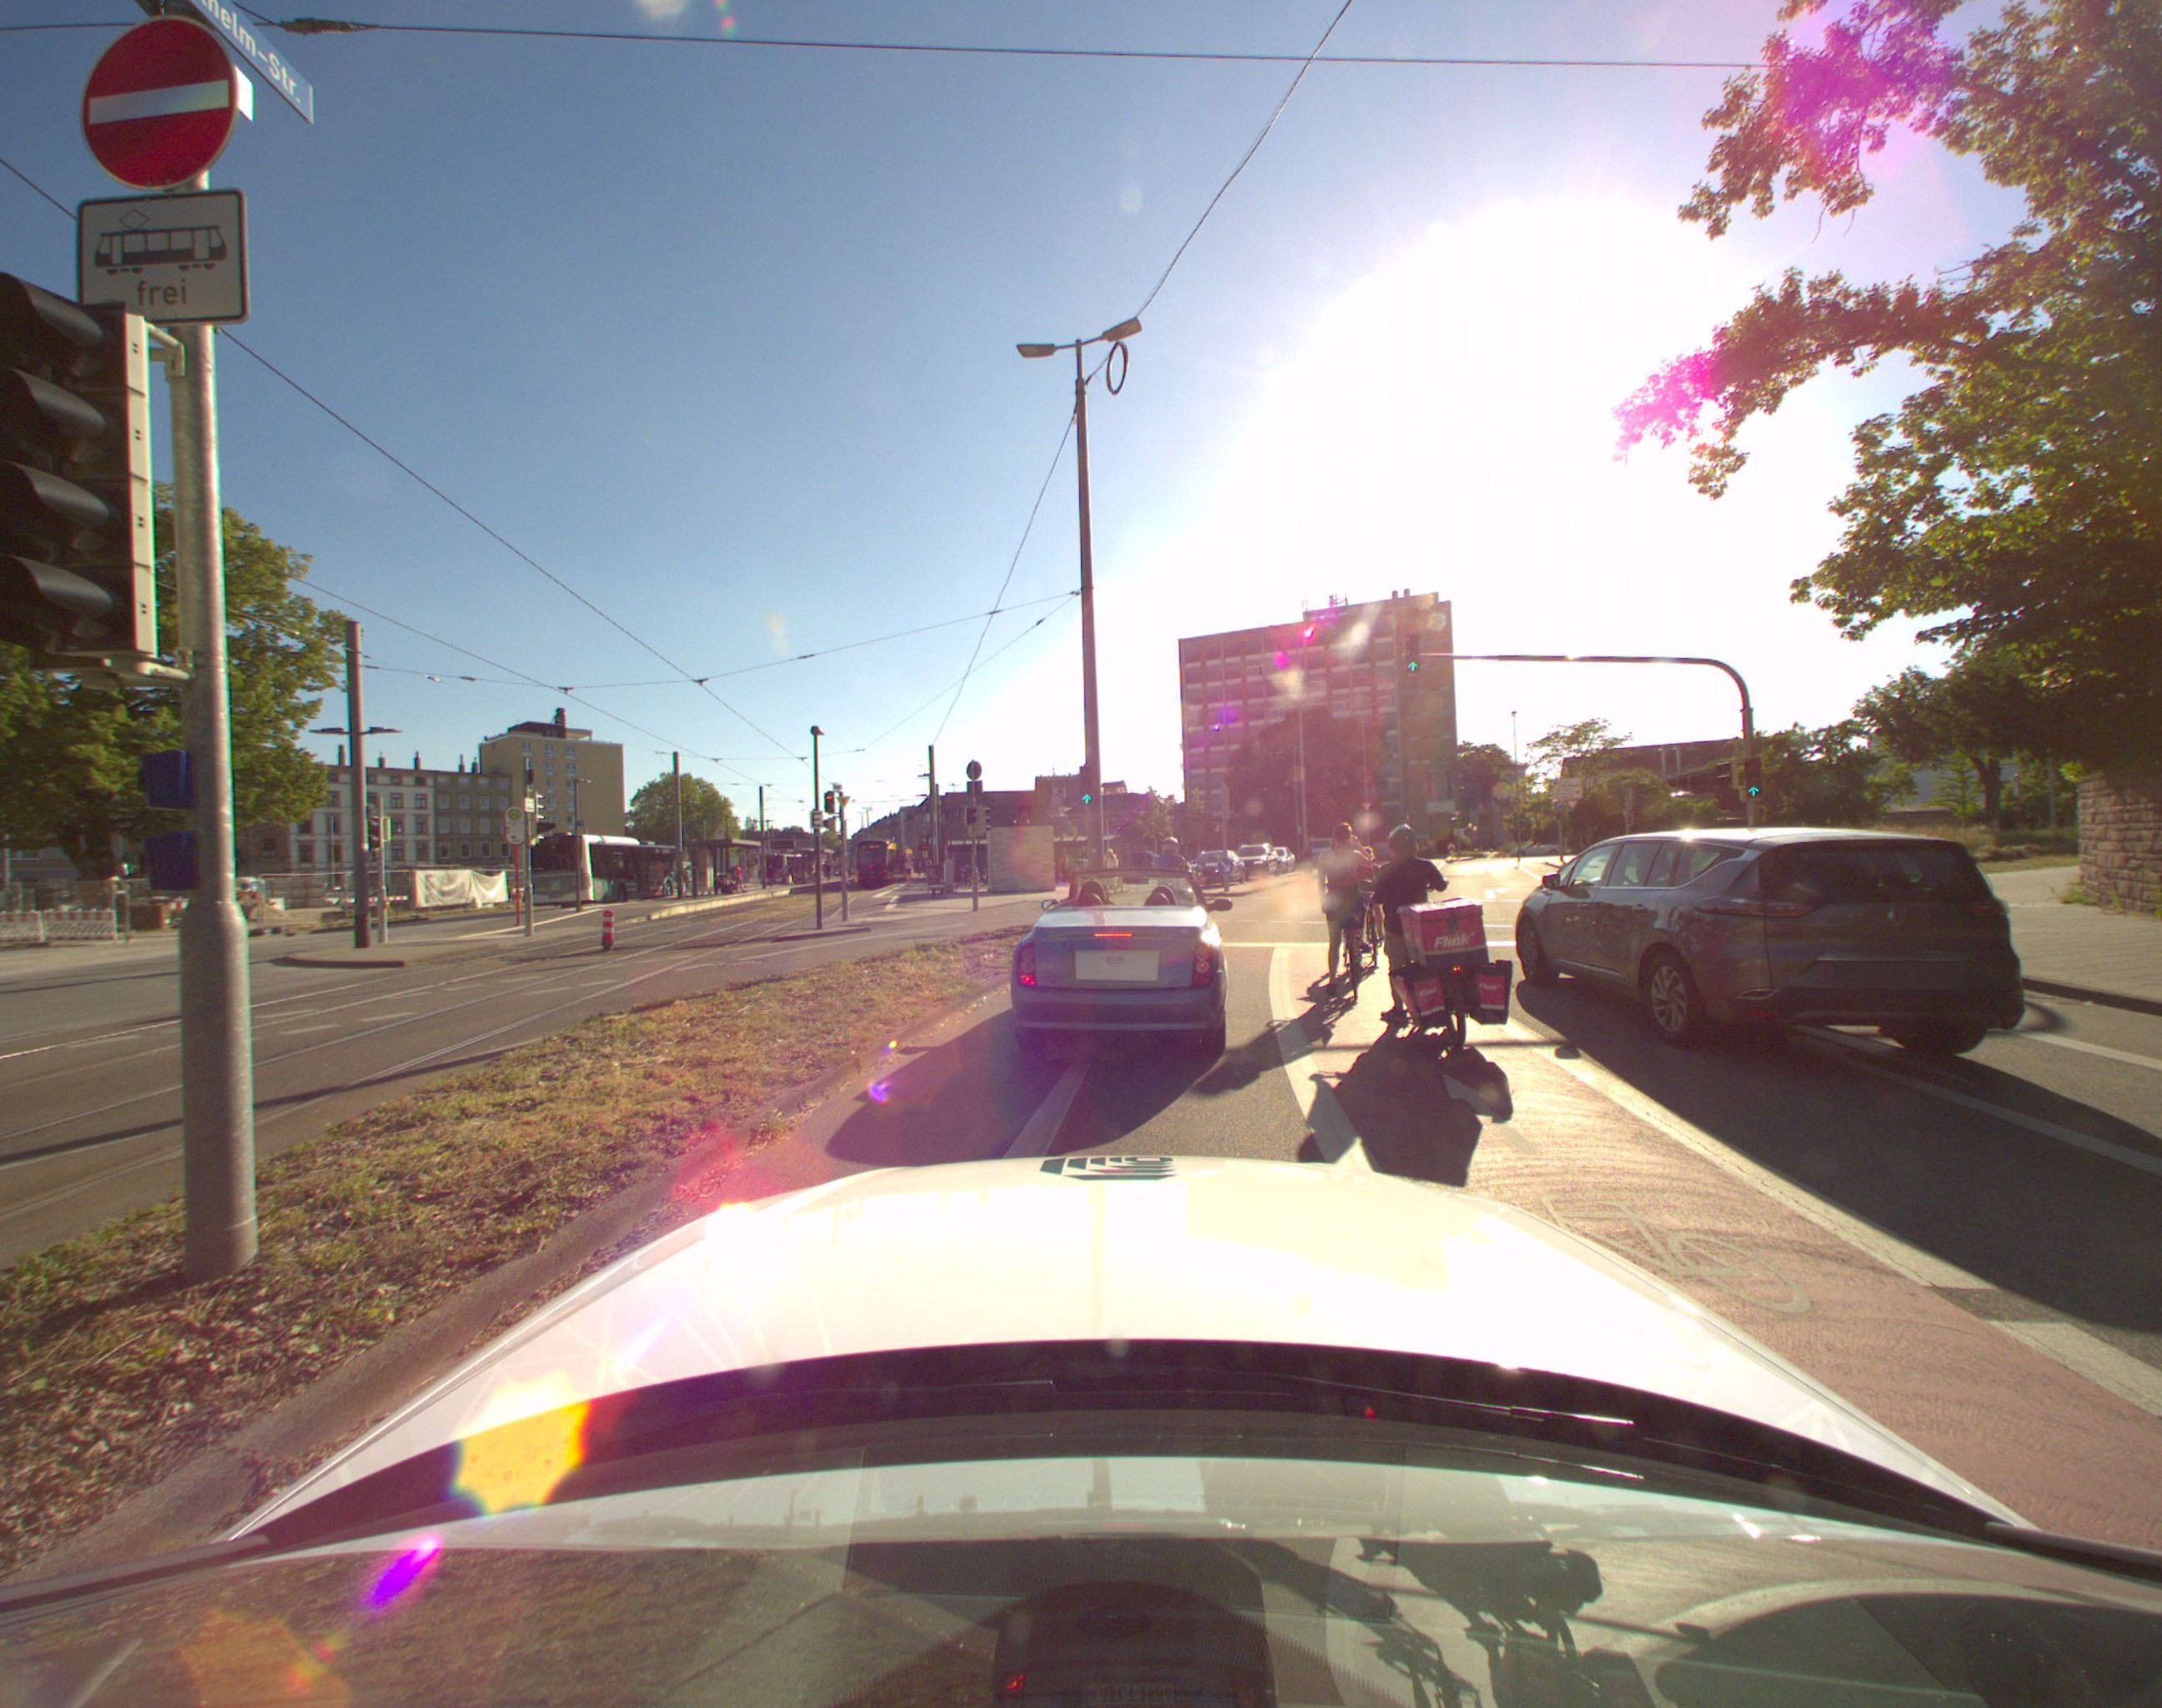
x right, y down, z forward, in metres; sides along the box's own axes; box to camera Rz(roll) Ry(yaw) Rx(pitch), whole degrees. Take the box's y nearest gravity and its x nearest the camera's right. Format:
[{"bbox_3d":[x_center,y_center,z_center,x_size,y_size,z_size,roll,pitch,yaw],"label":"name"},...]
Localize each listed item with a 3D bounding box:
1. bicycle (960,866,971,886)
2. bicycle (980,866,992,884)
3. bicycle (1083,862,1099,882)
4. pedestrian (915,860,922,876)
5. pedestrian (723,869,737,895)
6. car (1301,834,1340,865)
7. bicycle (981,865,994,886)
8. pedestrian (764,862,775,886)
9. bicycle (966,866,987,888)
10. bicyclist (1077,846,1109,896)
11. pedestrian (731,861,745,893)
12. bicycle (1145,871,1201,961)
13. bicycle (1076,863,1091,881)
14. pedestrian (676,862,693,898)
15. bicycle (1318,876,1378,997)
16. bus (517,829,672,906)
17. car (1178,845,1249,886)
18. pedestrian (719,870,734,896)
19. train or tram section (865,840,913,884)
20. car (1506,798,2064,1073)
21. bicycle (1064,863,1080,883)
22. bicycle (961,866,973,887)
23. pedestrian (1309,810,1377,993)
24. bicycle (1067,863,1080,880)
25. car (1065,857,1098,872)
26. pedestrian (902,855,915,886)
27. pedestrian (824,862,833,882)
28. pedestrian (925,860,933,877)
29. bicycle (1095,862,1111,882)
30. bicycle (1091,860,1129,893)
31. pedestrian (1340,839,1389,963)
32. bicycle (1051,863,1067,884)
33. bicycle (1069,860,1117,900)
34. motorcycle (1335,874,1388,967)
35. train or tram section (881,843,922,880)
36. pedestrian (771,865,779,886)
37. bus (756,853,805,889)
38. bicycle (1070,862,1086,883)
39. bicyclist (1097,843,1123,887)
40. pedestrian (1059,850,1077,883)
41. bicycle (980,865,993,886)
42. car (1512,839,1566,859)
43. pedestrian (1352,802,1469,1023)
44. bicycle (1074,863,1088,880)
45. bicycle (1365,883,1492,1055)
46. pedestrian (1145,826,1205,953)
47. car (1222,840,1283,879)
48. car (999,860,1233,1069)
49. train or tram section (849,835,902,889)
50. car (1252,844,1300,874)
[{"bbox_3d":[-6.559,1.250,46.299,0.606,1.115,1.891,0,-1,-8],"label":"bicycle"},{"bbox_3d":[-5.901,1.286,50.629,0.607,1.115,1.890,0,-1,-10],"label":"bicycle"},{"bbox_3d":[0.558,1.055,47.719,0.607,1.115,1.890,0,-1,-10],"label":"bicycle"},{"bbox_3d":[-18.071,1.530,90.540,0.604,1.749,0.830,-2,-1,-6],"label":"pedestrian"},{"bbox_3d":[-18.731,1.474,43.468,0.571,1.346,0.636,-2,-1,-15],"label":"pedestrian"},{"bbox_3d":[16.672,-0.294,56.632,1.891,1.945,4.733,-4,-1,24],"label":"car"},{"bbox_3d":[-5.373,1.224,46.740,0.607,1.115,1.890,0,-1,-10],"label":"bicycle"},{"bbox_3d":[-23.103,1.490,60.376,0.641,1.749,0.567,-2,-1,-25],"label":"pedestrian"},{"bbox_3d":[-5.466,1.203,42.740,0.603,1.115,1.901,0,-1,8],"label":"bicycle"},{"bbox_3d":[0.434,0.592,28.489,0.702,1.657,0.906,-5,-2,24],"label":"bicyclist"},{"bbox_3d":[-19.110,1.275,45.344,0.571,1.749,0.636,-2,-1,-15],"label":"pedestrian"},{"bbox_3d":[1.434,0.867,12.331,0.604,1.191,2.422,-1,-1,12],"label":"bicycle"},{"bbox_3d":[0.131,1.137,51.418,0.607,1.115,1.890,0,-1,-10],"label":"bicycle"},{"bbox_3d":[-19.636,1.272,40.369,0.536,1.749,0.559,-2,-1,-4],"label":"pedestrian"},{"bbox_3d":[2.933,0.842,9.027,0.559,1.151,1.958,-1,-1,17],"label":"bicycle"},{"bbox_3d":[-22.370,0.572,38.227,2.652,3.135,9.617,0,-1,-8],"label":"bus"},{"bbox_3d":[5.548,0.468,33.647,1.720,1.574,3.948,-1,-1,28],"label":"car"},{"bbox_3d":[-18.602,1.520,42.781,0.617,1.340,0.438,-2,-1,-15],"label":"pedestrian"},{"bbox_3d":[-17.065,0.704,73.262,3.010,3.597,12.165,0,-1,-8],"label":"train or tram section"},{"bbox_3d":[5.541,0.522,7.325,1.820,1.689,4.381,-1,-1,10],"label":"car"},{"bbox_3d":[-0.541,1.092,47.357,0.607,1.115,1.890,0,-1,-10],"label":"bicycle"},{"bbox_3d":[-6.212,1.231,44.364,0.607,1.115,1.890,0,-1,-10],"label":"bicycle"},{"bbox_3d":[2.836,0.490,8.844,0.654,1.869,0.876,-1,-1,17],"label":"pedestrian"},{"bbox_3d":[-0.557,1.204,56.916,0.607,1.115,1.890,0,-1,-10],"label":"bicycle"},{"bbox_3d":[0.033,1.173,88.661,1.653,1.560,3.559,-2,0,-37],"label":"car"},{"bbox_3d":[-10.115,0.965,47.808,0.639,1.749,0.569,-2,-1,-17],"label":"pedestrian"},{"bbox_3d":[-21.912,1.569,70.692,0.641,1.749,0.567,-2,-1,-25],"label":"pedestrian"},{"bbox_3d":[-15.892,1.472,85.044,0.639,1.749,0.732,-2,-1,-17],"label":"pedestrian"},{"bbox_3d":[1.205,1.006,45.679,0.606,1.115,1.892,0,-1,-7],"label":"bicycle"},{"bbox_3d":[1.132,0.839,31.416,0.668,1.180,2.195,-3,0,24],"label":"bicycle"},{"bbox_3d":[3.828,0.606,11.018,0.583,1.598,1.030,-1,-1,19],"label":"pedestrian"},{"bbox_3d":[-1.253,1.081,45.300,0.607,1.115,1.890,0,-1,-10],"label":"bicycle"},{"bbox_3d":[0.436,0.875,28.444,0.668,1.250,2.471,-5,-1,24],"label":"bicycle"},{"bbox_3d":[3.849,0.844,11.172,0.608,1.097,2.371,-1,-1,19],"label":"motorcycle"},{"bbox_3d":[-18.600,0.812,85.234,3.037,3.597,12.021,0,0,-7],"label":"train or tram section"},{"bbox_3d":[-25.282,1.776,67.275,0.571,1.749,0.636,-2,-1,-17],"label":"pedestrian"},{"bbox_3d":[-29.667,1.586,80.953,2.723,3.274,13.409,0,-1,-12],"label":"bus"},{"bbox_3d":[-0.178,1.015,45.416,0.607,1.115,1.890,0,-1,-10],"label":"bicycle"},{"bbox_3d":[1.129,0.423,31.444,0.702,1.657,0.747,-3,-1,24],"label":"bicyclist"},{"bbox_3d":[-0.748,0.707,46.825,0.901,1.869,0.684,0,-1,-11],"label":"pedestrian"},{"bbox_3d":[-5.177,1.193,44.670,0.607,1.115,1.890,0,-1,-10],"label":"bicycle"},{"bbox_3d":[40.171,-0.456,71.574,3.950,1.530,1.816,-4,-1,26],"label":"car"},{"bbox_3d":[2.977,0.502,7.452,0.801,1.869,0.959,-1,-1,10],"label":"pedestrian"},{"bbox_3d":[-0.030,1.132,53.396,0.607,1.115,1.890,0,-1,-10],"label":"bicycle"},{"bbox_3d":[2.934,0.872,7.099,0.550,1.171,2.380,-1,-1,12],"label":"bicycle"},{"bbox_3d":[1.450,0.529,12.465,0.828,1.869,0.923,-1,-1,10],"label":"pedestrian"},{"bbox_3d":[8.384,0.233,39.461,1.745,1.706,4.557,-4,-1,26],"label":"car"},{"bbox_3d":[0.549,0.782,7.801,1.650,1.441,4.164,-1,-1,9],"label":"car"},{"bbox_3d":[-15.260,0.582,61.221,2.881,3.597,12.158,0,-1,-10],"label":"train or tram section"},{"bbox_3d":[11.074,0.254,46.043,1.678,1.560,4.004,-3,0,28],"label":"car"}]
